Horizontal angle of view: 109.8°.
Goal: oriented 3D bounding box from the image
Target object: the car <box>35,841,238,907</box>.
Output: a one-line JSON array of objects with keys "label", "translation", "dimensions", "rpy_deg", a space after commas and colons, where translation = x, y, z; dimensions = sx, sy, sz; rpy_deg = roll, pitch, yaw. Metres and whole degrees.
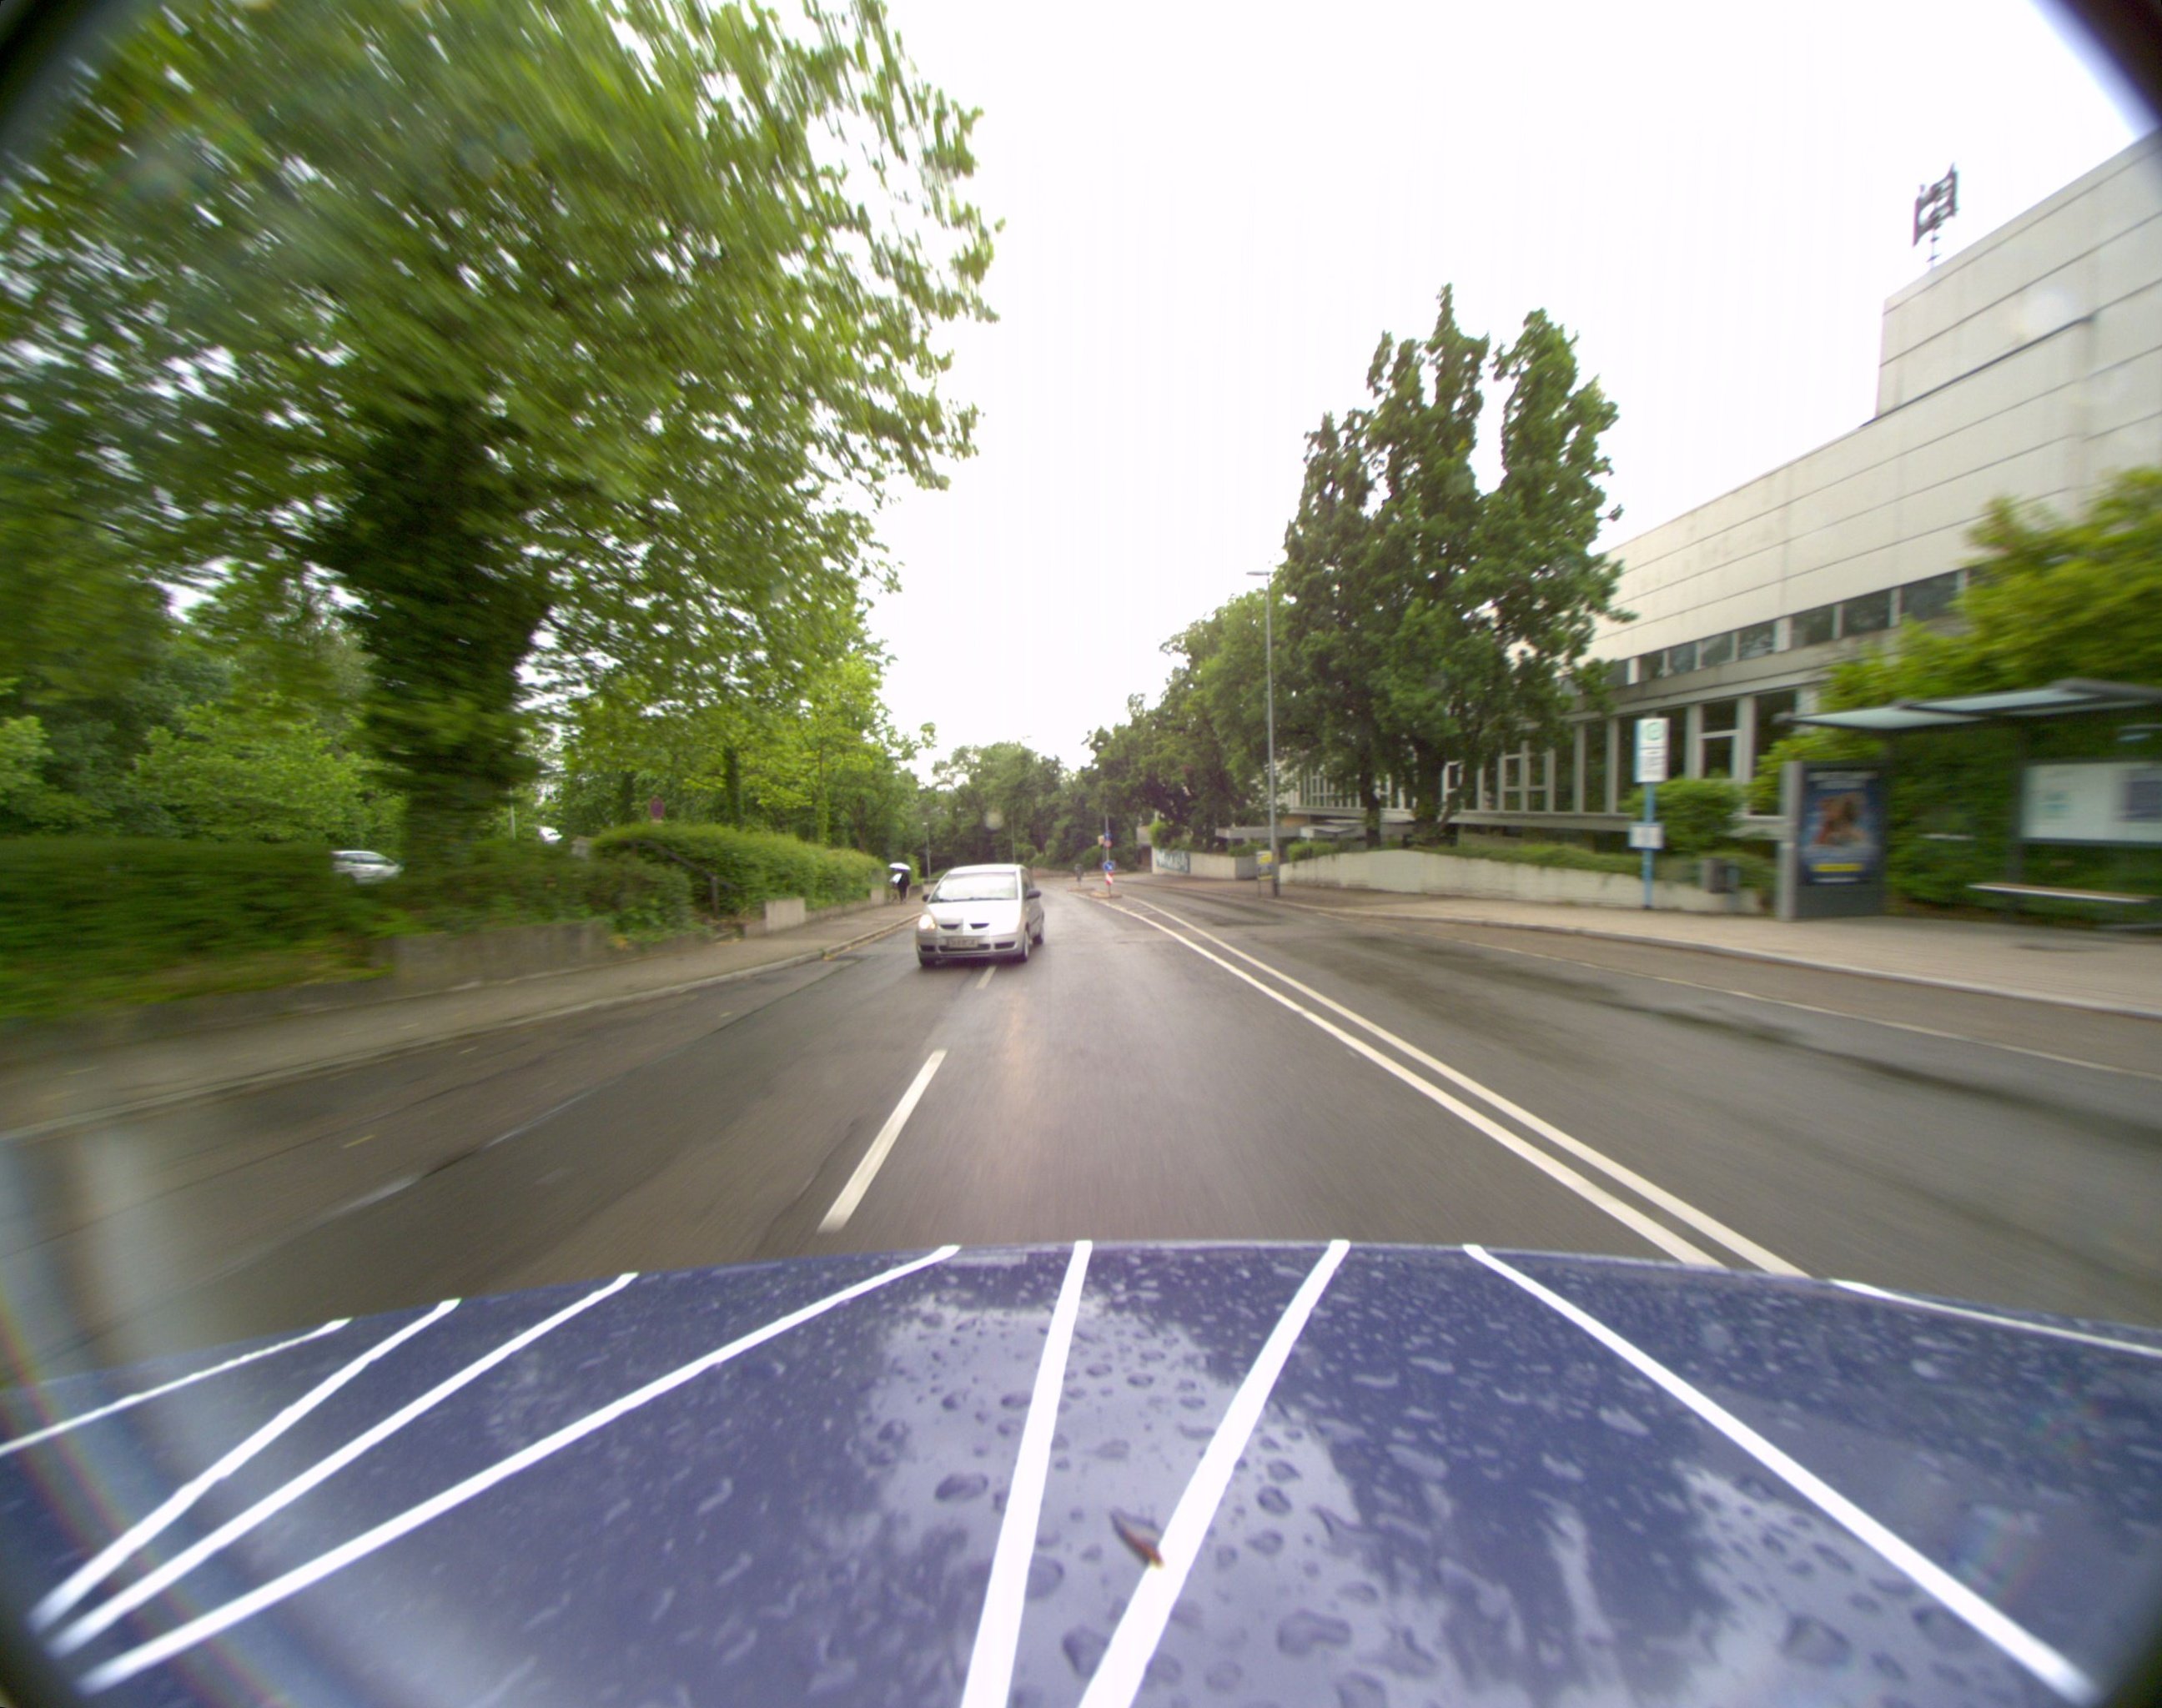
[{"label": "car", "translation": [-32.825, 0.666, 26.645], "dimensions": [1.707, 2.001, 4.354], "rpy_deg": [-4, 0, -3]}]

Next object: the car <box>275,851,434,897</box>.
[{"label": "car", "translation": [-26.416, 0.704, 27.856], "dimensions": [1.900, 1.444, 4.170], "rpy_deg": [-4, 0, -4]}]

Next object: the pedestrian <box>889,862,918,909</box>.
[{"label": "pedestrian", "translation": [-7.561, 1.310, 32.406], "dimensions": [1.054, 1.883, 1.132], "rpy_deg": [-2, 2, -8]}]

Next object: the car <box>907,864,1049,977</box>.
[{"label": "car", "translation": [-1.578, 0.995, 13.009], "dimensions": [1.639, 1.496, 4.000], "rpy_deg": [-3, 0, 3]}]

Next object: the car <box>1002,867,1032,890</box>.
[{"label": "car", "translation": [-5.265, 1.957, 61.851], "dimensions": [2.037, 1.691, 3.997], "rpy_deg": [-4, -1, -9]}]
